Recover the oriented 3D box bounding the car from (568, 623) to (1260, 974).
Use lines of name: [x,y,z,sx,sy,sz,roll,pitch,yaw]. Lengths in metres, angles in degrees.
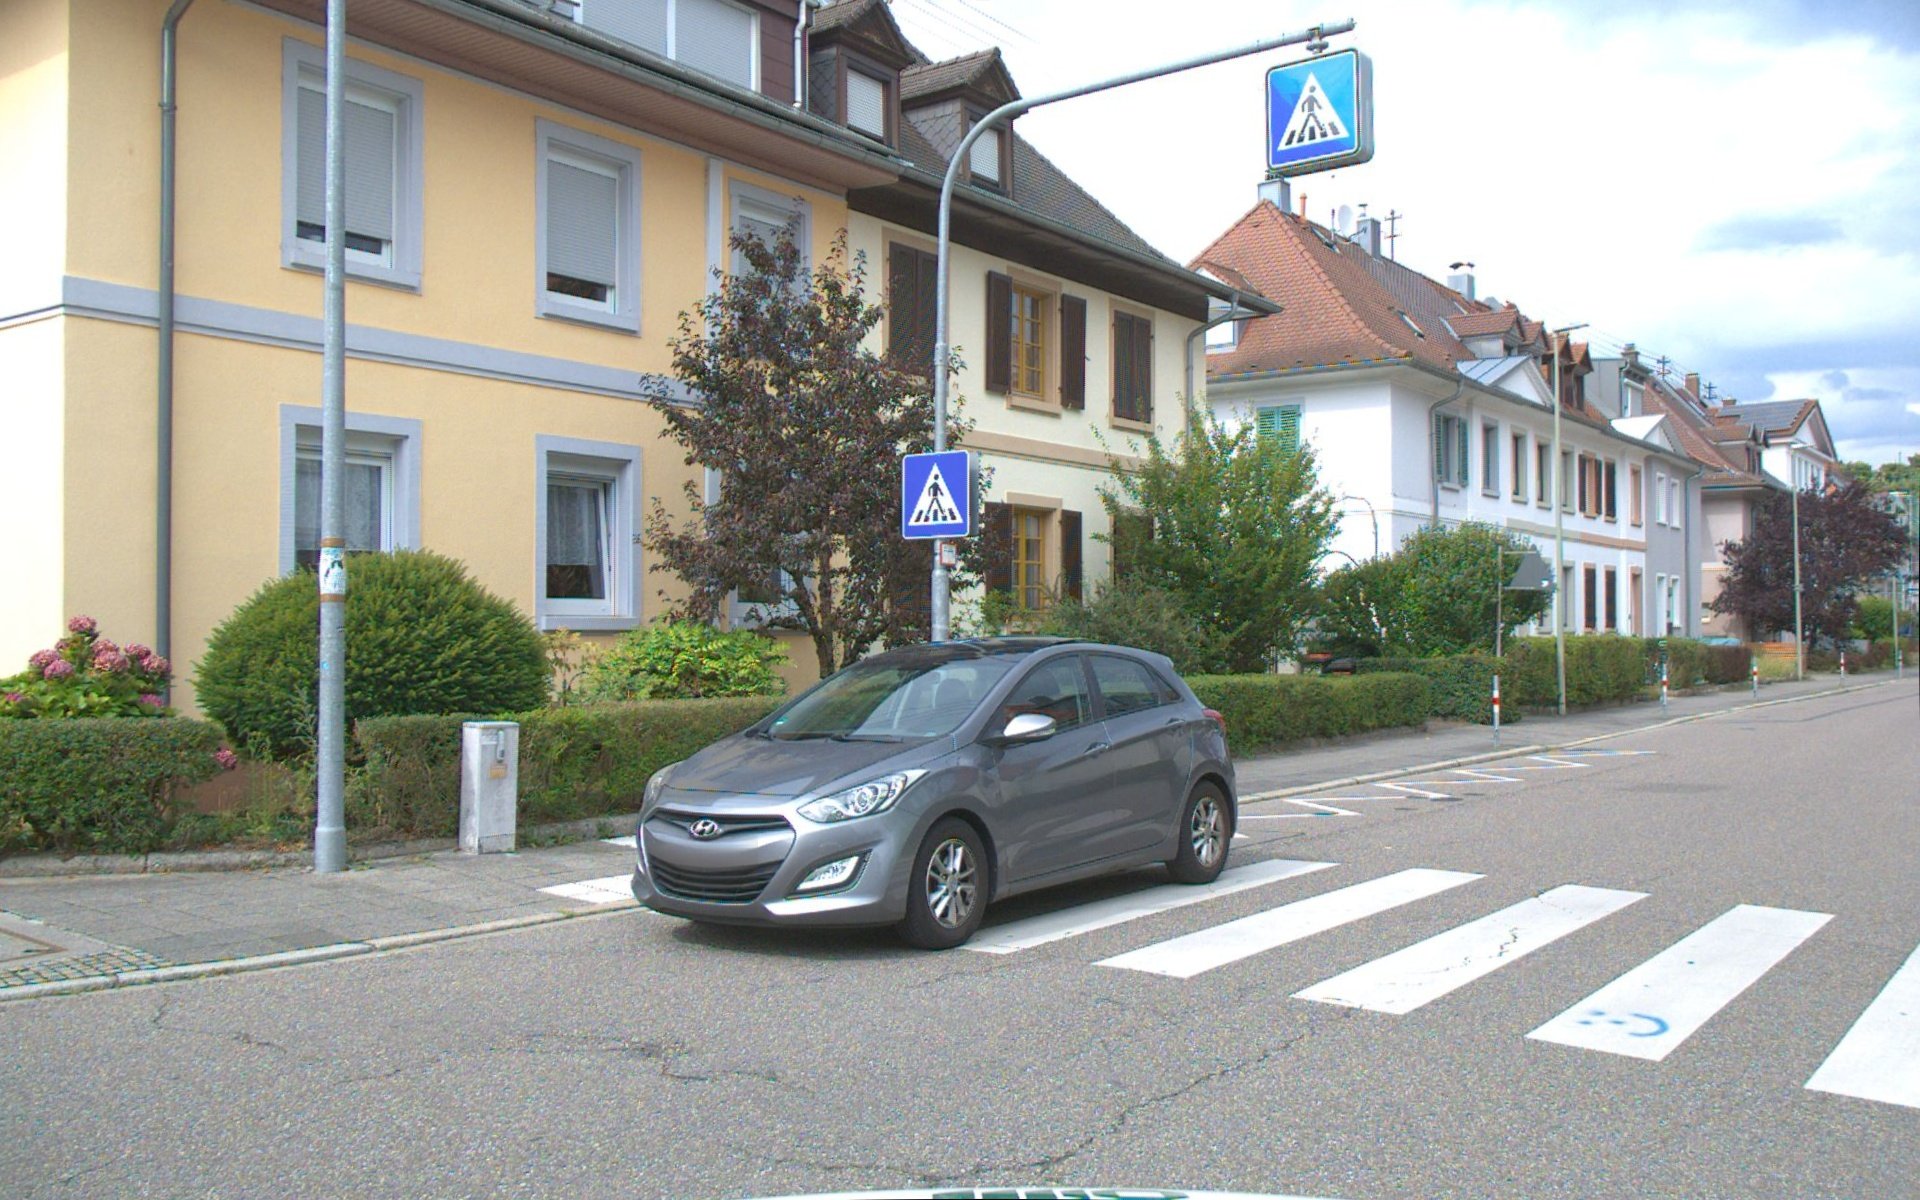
car: [-0.039,0.892,9.299,1.818,1.507,4.025,-1,-1,37]
